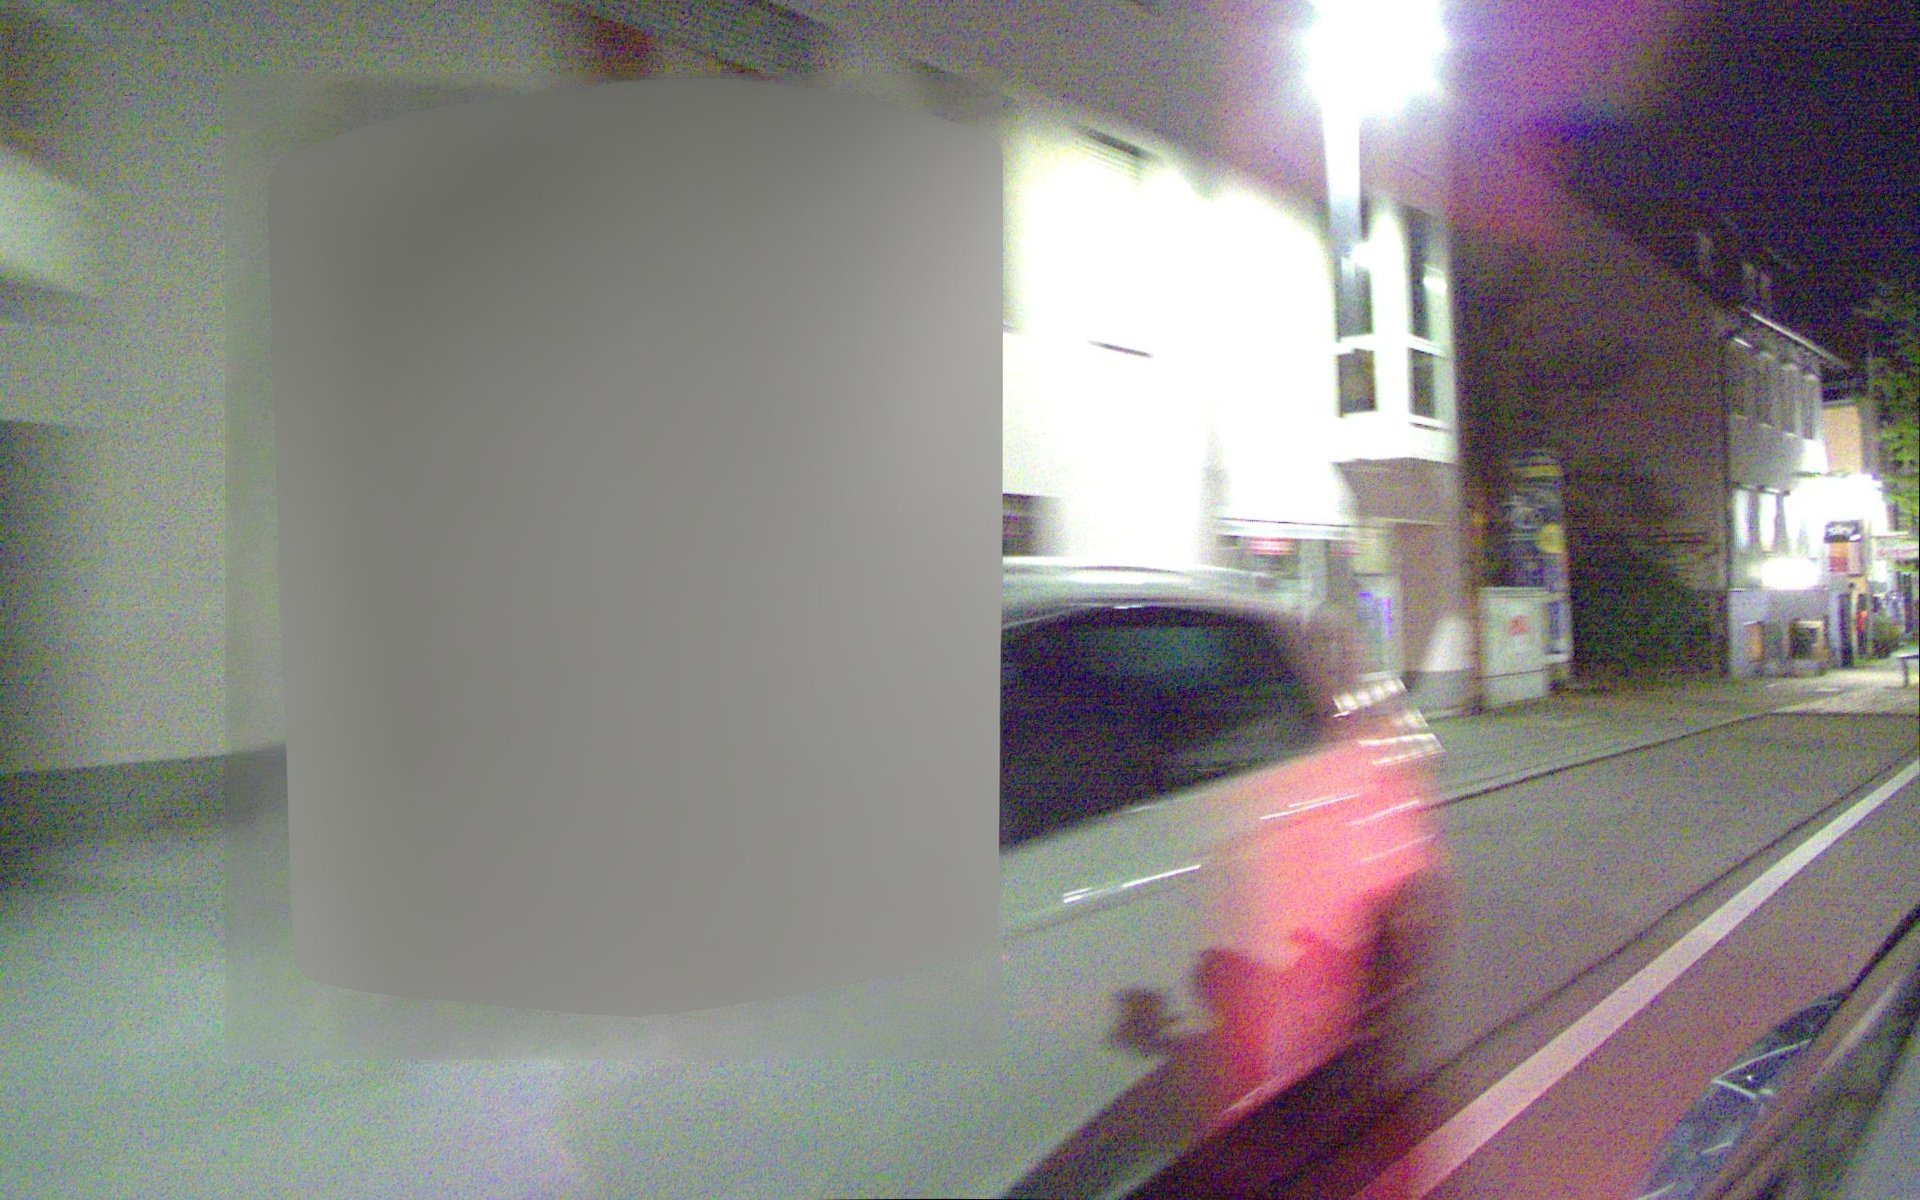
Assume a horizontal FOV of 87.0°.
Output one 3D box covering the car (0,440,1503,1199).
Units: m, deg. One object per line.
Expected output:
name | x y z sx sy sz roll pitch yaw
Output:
car | -0.282 0.651 2.611 4.138 1.589 1.744 0 0 -43
